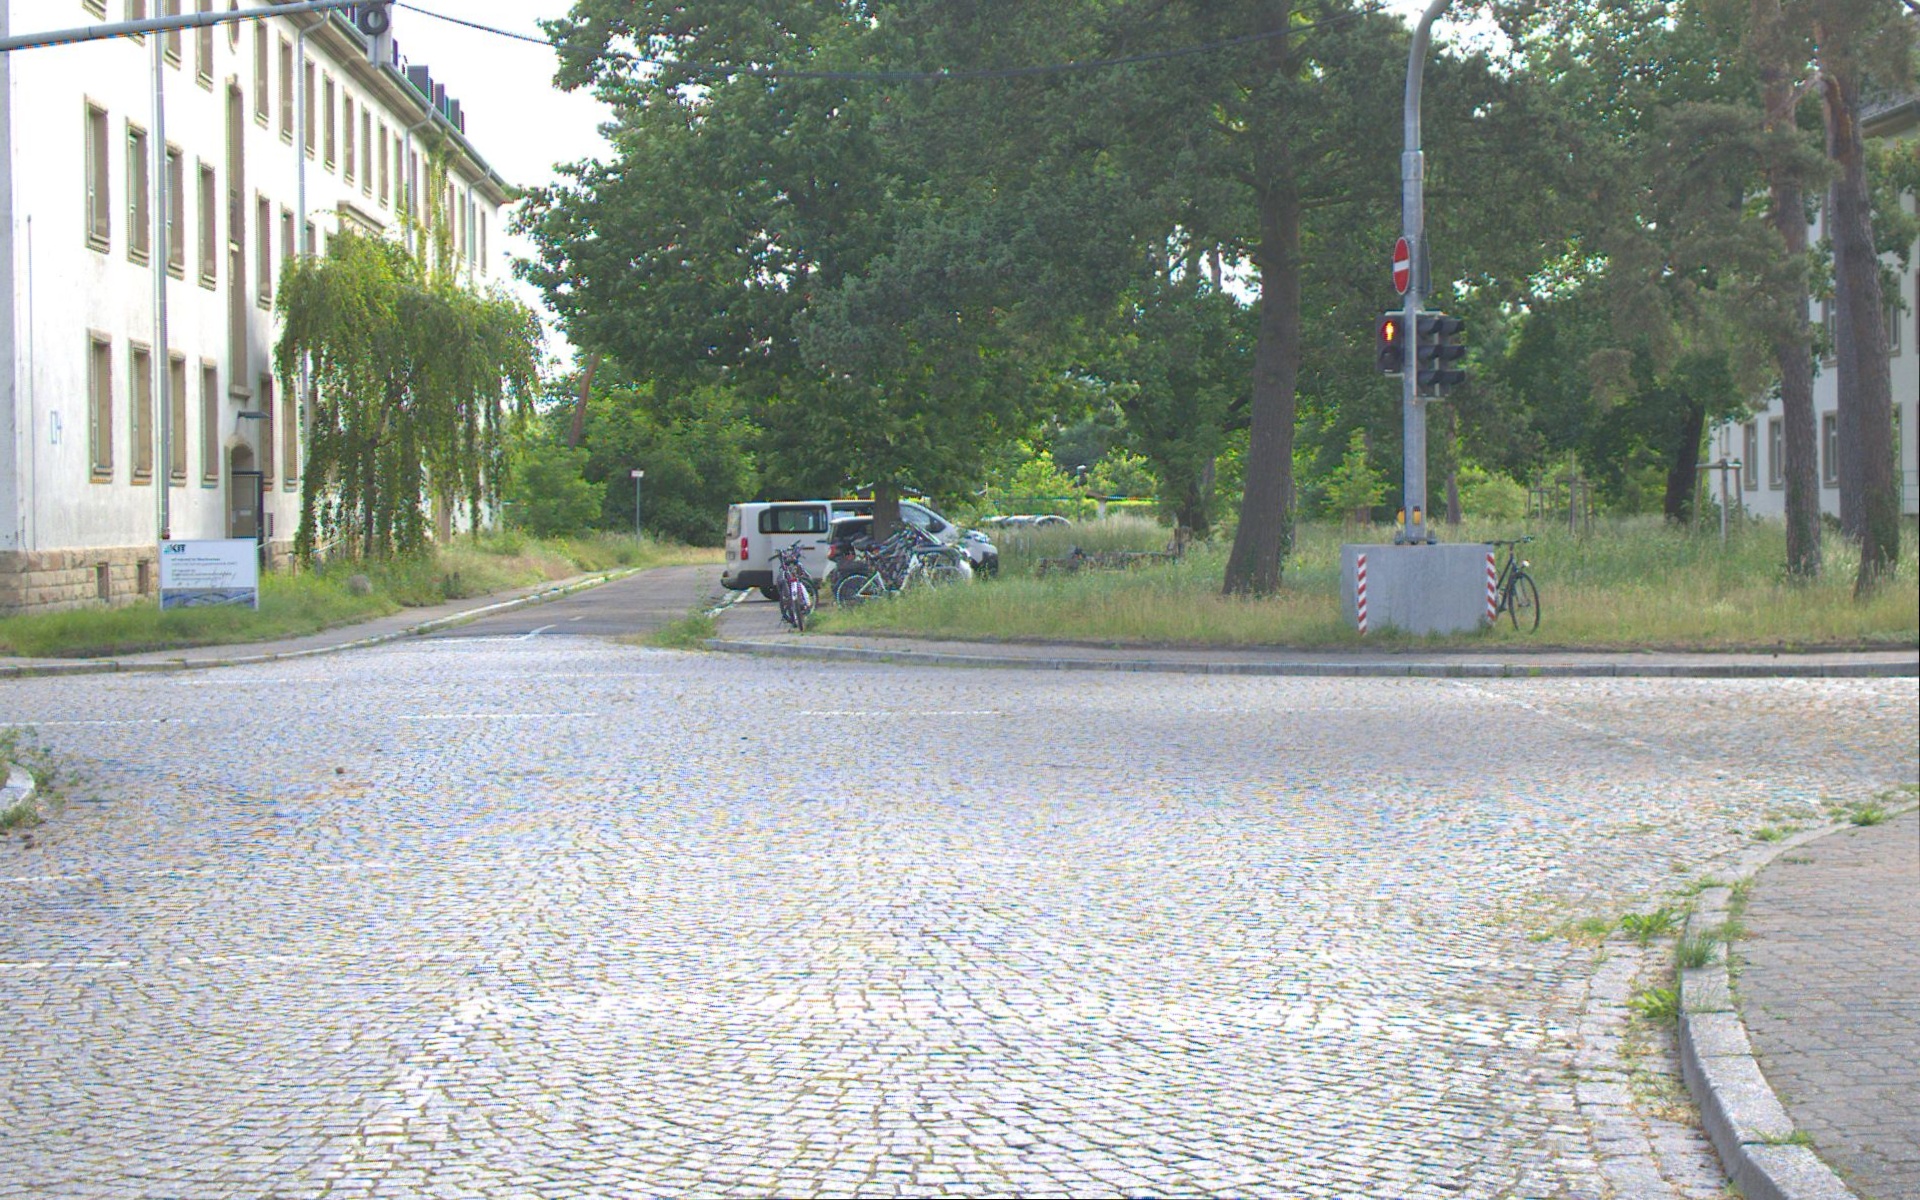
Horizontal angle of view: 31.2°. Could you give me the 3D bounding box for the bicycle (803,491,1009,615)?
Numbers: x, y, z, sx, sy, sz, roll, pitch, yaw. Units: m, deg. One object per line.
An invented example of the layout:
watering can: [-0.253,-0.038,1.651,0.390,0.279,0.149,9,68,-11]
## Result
bicycle: [-0.765,-0.666,48.195,2.775,1.688,1.120,-1,1,-7]

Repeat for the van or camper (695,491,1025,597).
van or camper: [-1.927,-1.102,66.139,6.030,1.942,2.001,-1,2,-15]

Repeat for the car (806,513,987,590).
car: [-1.173,-0.898,62.583,3.137,1.349,1.620,-1,2,-7]

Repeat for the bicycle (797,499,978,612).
bicycle: [-1.141,-0.711,54.287,2.775,1.688,1.120,2,1,0]

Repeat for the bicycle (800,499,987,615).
bicycle: [-1.010,-0.663,52.952,2.776,1.688,1.120,2,1,2]

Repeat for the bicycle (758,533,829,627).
bicycle: [-2.111,-0.273,43.886,0.725,1.104,2.462,-5,1,-1]

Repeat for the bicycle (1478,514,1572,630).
bicycle: [5.993,-0.312,36.572,0.724,1.165,2.736,1,1,4]

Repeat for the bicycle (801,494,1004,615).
bicycle: [-0.832,-0.670,49.388,2.775,1.688,1.120,-1,1,-9]
